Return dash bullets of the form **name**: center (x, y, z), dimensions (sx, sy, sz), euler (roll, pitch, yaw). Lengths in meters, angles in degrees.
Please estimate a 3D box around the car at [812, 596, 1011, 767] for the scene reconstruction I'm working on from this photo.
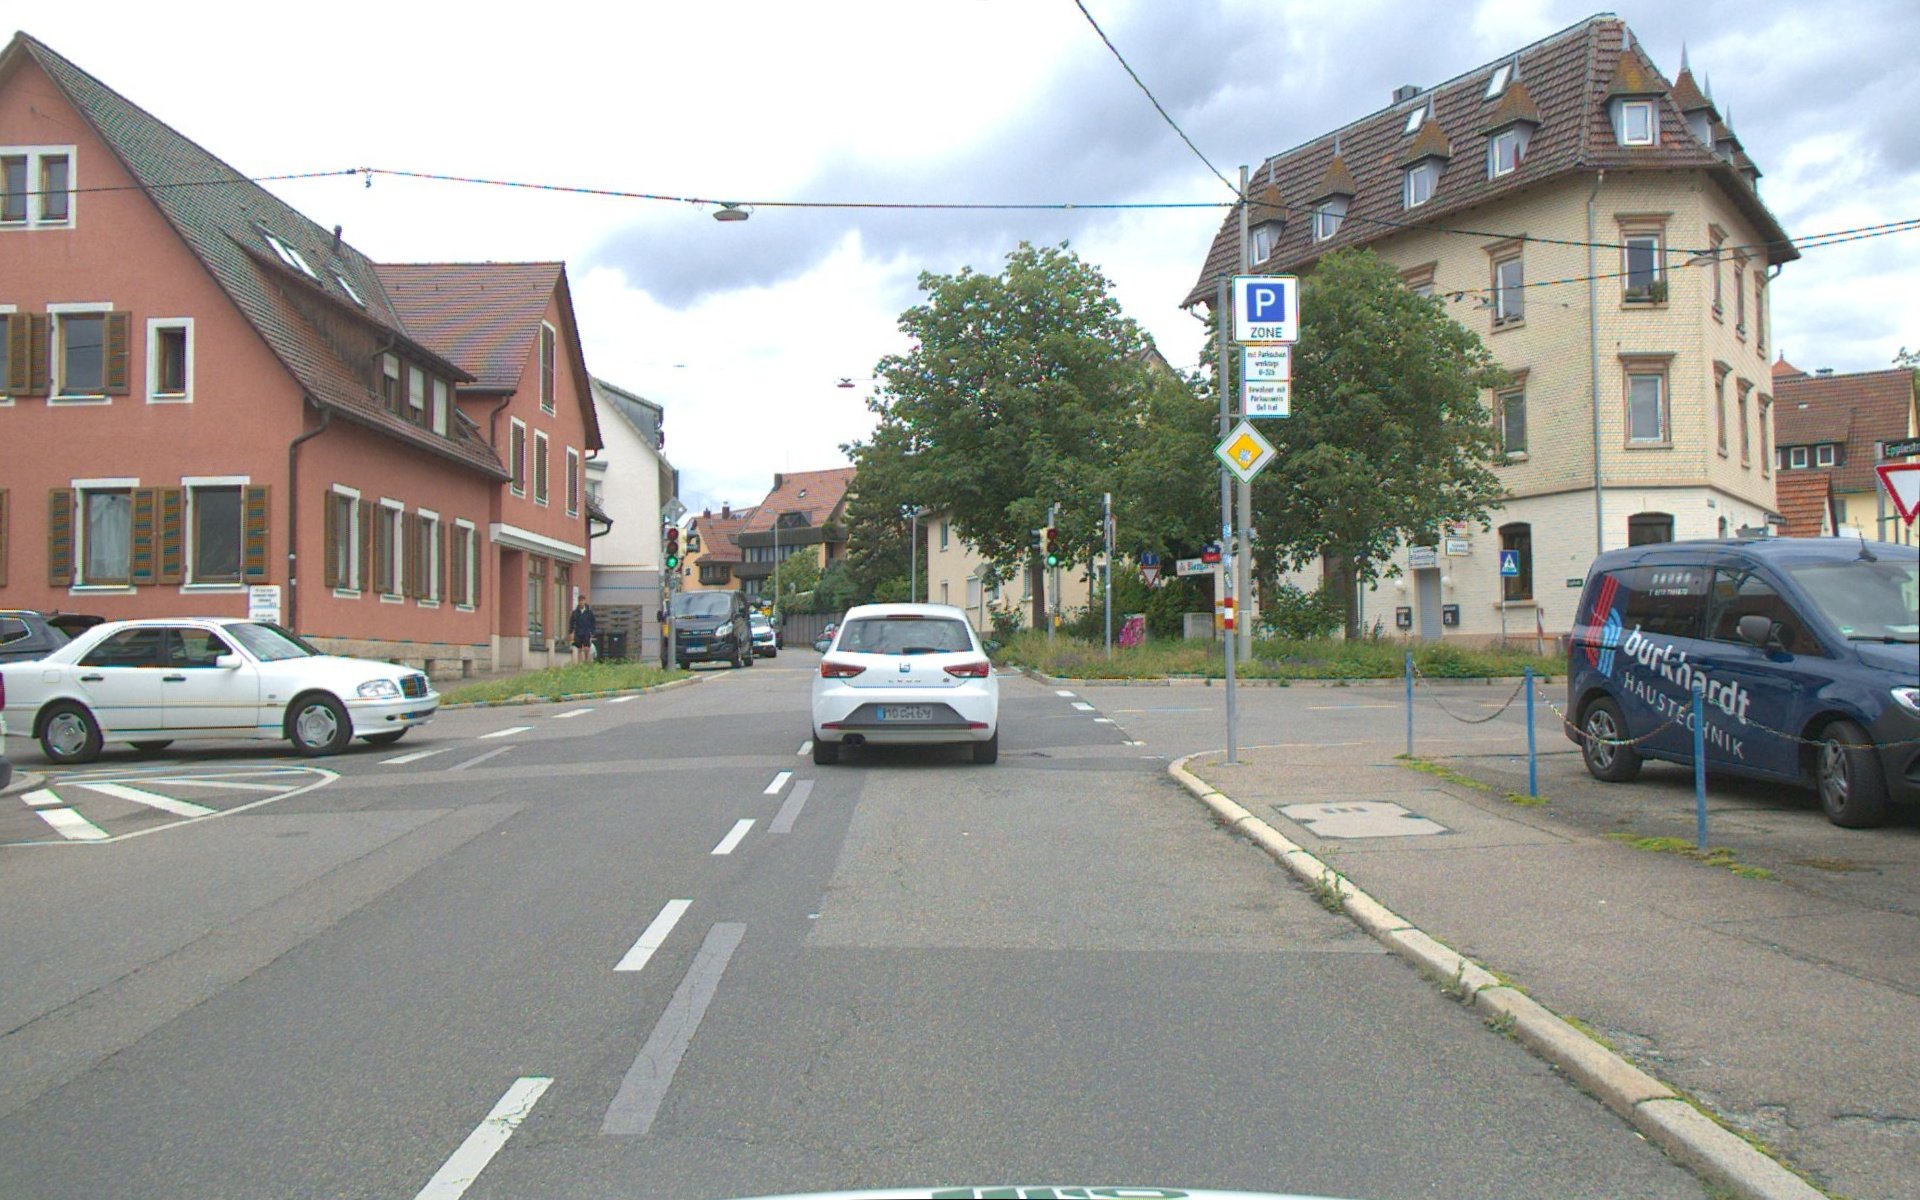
- **car**: center (-0.414, 0.705, 16.376), dimensions (1.722, 1.477, 4.000), euler (0, 0, 0)

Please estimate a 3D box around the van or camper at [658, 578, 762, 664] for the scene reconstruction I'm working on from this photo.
- **van or camper**: center (-6.353, 0.609, 42.607), dimensions (2.032, 2.041, 4.855), euler (1, -2, -2)

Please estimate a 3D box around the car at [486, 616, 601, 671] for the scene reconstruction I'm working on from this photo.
- **car**: center (-11.726, 1.232, 46.715), dimensions (2.771, 1.501, 1.742), euler (0, -2, 1)

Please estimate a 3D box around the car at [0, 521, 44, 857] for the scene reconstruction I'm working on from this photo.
- **car**: center (-6.754, 0.581, 8.108), dimensions (1.775, 2.040, 4.763), euler (-2, 0, 1)

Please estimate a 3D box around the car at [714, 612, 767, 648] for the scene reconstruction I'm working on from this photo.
- **car**: center (-9.265, 1.279, 69.703), dimensions (1.962, 1.461, 3.907), euler (1, -1, -11)

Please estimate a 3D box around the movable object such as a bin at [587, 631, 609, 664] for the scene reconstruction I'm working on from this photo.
- **movable object such as a bin**: center (-11.085, 1.454, 50.679), dimensions (0.523, 0.988, 0.635), euler (2, -1, -2)

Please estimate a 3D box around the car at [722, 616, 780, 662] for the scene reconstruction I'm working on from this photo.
- **car**: center (-7.860, 1.454, 61.875), dimensions (1.961, 1.662, 4.847), euler (1, -1, -9)

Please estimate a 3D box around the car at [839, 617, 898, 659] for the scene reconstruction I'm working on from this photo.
- **car**: center (-3.365, 1.397, 60.237), dimensions (1.726, 1.477, 3.991), euler (0, -2, -9)

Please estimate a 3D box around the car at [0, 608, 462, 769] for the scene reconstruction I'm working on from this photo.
- **car**: center (-7.875, 0.902, 17.642), dimensions (4.459, 1.470, 2.000), euler (-2, 0, 2)

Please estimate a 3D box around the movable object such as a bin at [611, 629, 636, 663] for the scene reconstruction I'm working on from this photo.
- **movable object such as a bin**: center (-10.361, 1.412, 50.886), dimensions (0.652, 1.036, 0.794), euler (-1, 0, -5)

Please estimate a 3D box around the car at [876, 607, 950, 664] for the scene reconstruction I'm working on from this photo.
- **car**: center (-1.329, 0.976, 44.966), dimensions (1.724, 1.477, 3.994), euler (0, -2, -6)

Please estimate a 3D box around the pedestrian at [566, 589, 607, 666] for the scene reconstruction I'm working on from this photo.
- **pedestrian**: center (-8.904, 0.663, 39.503), dimensions (0.784, 1.816, 0.892), euler (0, -1, -2)

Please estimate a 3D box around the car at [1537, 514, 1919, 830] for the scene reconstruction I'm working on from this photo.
- **car**: center (5.924, 0.369, 11.439), dimensions (1.713, 1.770, 4.563), euler (-2, 0, -8)

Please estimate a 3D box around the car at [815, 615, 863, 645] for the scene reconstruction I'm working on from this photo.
- **car**: center (-6.430, 1.617, 87.665), dimensions (1.730, 1.477, 3.982), euler (2, -2, -16)
